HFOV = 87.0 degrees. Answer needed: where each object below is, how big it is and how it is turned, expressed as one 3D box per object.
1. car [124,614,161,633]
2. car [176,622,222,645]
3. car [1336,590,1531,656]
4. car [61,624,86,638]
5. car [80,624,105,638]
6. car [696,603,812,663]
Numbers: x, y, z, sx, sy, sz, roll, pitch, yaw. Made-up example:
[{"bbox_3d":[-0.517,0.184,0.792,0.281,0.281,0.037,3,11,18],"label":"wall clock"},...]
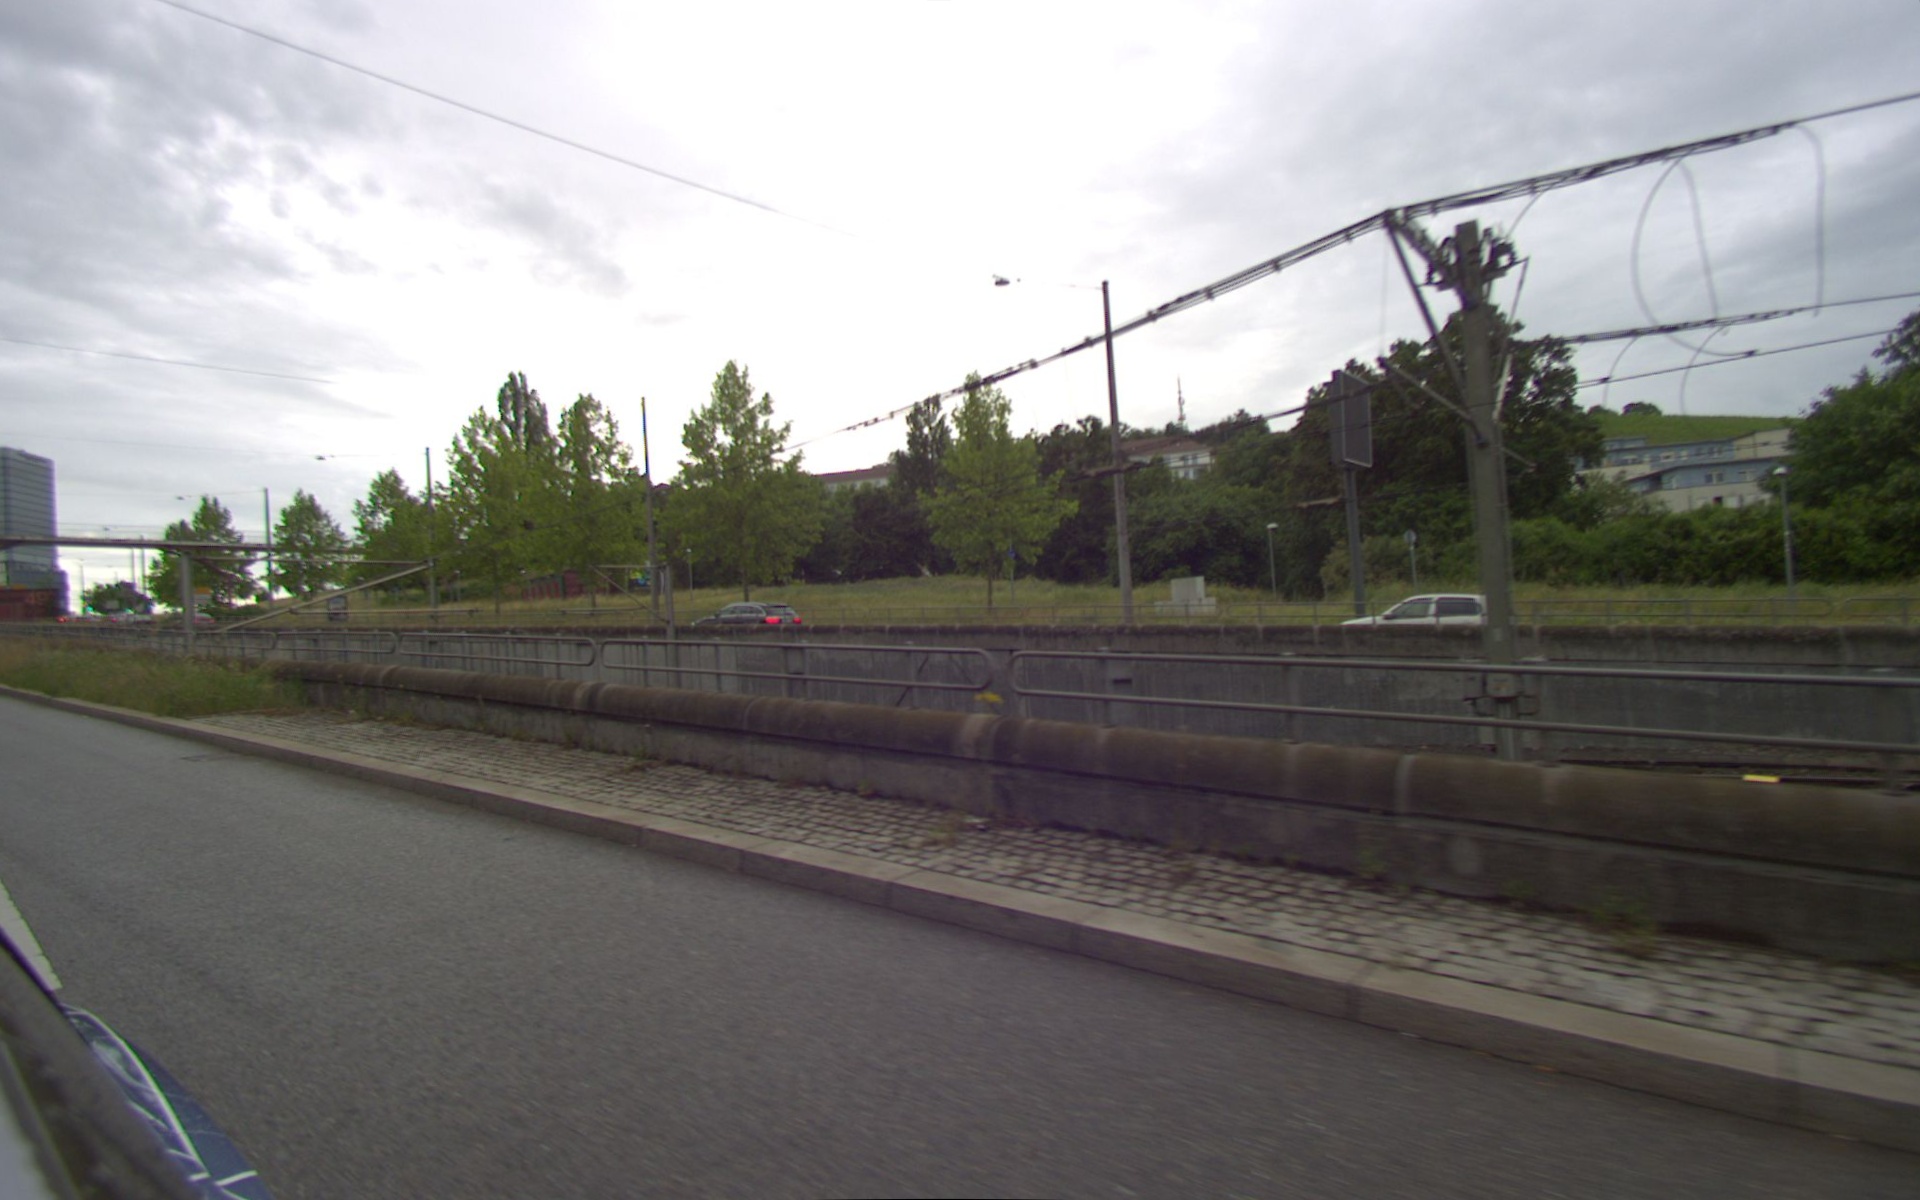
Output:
[{"bbox_3d":[-74.699,2.115,92.481,3.969,1.653,1.872,-2,0,40],"label":"car"},{"bbox_3d":[-60.084,2.617,79.912,4.354,1.656,1.872,-1,3,40],"label":"car"},{"bbox_3d":[10.297,0.503,22.124,3.556,1.301,1.540,-2,0,40],"label":"car"},{"bbox_3d":[-108.290,3.766,123.592,4.431,1.539,1.640,-2,0,40],"label":"car"},{"bbox_3d":[-114.361,4.075,133.390,3.784,1.585,1.642,-1,3,36],"label":"car"},{"bbox_3d":[-7.573,1.195,37.105,4.028,1.985,1.874,-1,3,37],"label":"car"}]
